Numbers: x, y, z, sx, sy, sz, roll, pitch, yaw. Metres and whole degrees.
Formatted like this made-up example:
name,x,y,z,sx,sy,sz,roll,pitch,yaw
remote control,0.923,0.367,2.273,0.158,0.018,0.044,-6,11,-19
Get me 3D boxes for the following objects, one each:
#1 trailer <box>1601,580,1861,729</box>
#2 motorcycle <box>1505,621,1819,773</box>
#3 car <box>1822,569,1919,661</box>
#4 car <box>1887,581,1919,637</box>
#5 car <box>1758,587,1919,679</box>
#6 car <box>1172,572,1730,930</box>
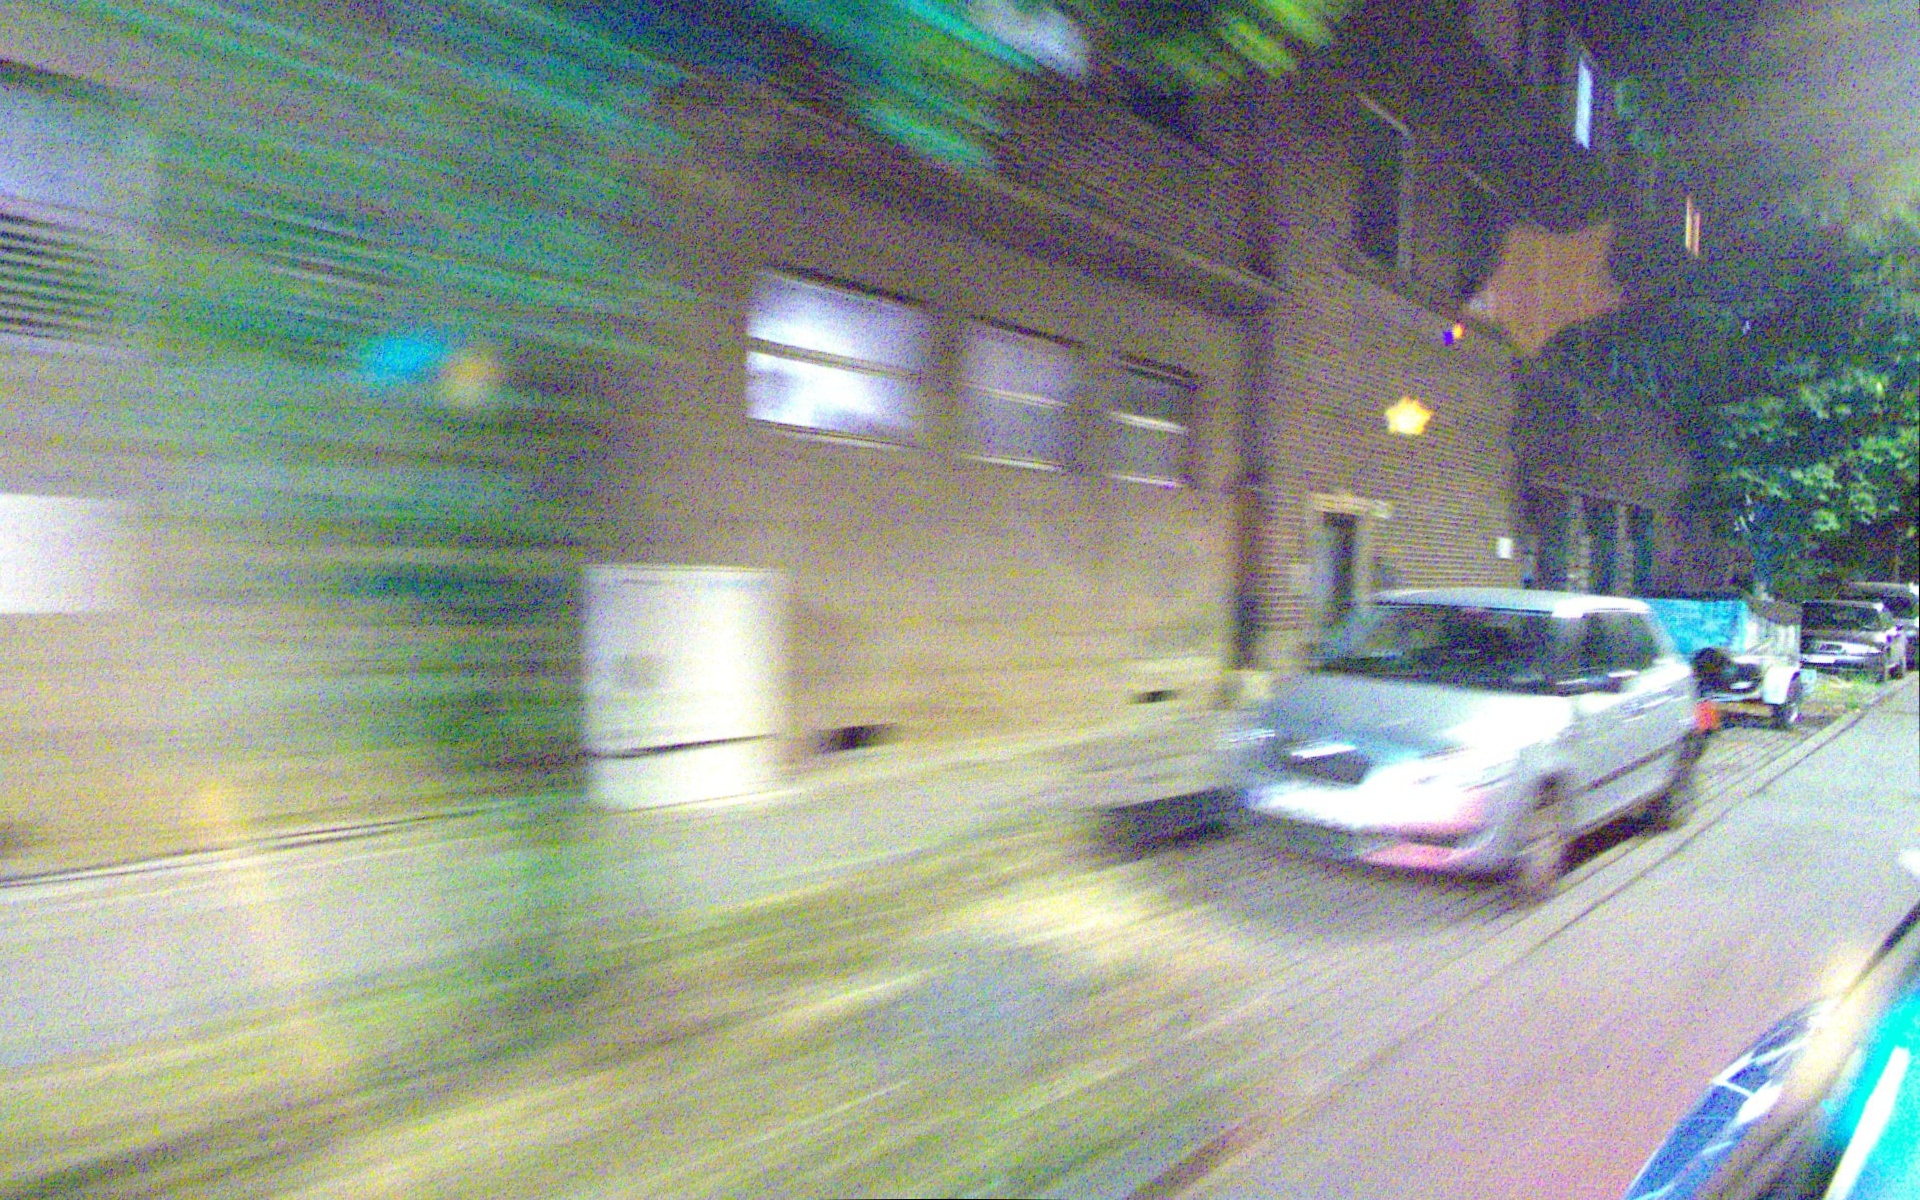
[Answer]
name,x,y,z,sx,sy,sz,roll,pitch,yaw
trailer,9.388,0.550,12.239,3.665,1.514,1.605,0,2,-38
motorcycle,5.763,0.782,8.361,2.182,1.145,0.730,1,1,-8
car,20.564,0.286,22.481,1.777,1.794,4.351,5,4,44
car,30.687,0.304,31.863,3.712,1.685,1.931,0,4,-44
car,16.133,0.526,18.373,4.346,1.375,1.780,0,4,-41
car,3.104,0.623,6.074,3.729,1.479,1.590,0,2,-40
